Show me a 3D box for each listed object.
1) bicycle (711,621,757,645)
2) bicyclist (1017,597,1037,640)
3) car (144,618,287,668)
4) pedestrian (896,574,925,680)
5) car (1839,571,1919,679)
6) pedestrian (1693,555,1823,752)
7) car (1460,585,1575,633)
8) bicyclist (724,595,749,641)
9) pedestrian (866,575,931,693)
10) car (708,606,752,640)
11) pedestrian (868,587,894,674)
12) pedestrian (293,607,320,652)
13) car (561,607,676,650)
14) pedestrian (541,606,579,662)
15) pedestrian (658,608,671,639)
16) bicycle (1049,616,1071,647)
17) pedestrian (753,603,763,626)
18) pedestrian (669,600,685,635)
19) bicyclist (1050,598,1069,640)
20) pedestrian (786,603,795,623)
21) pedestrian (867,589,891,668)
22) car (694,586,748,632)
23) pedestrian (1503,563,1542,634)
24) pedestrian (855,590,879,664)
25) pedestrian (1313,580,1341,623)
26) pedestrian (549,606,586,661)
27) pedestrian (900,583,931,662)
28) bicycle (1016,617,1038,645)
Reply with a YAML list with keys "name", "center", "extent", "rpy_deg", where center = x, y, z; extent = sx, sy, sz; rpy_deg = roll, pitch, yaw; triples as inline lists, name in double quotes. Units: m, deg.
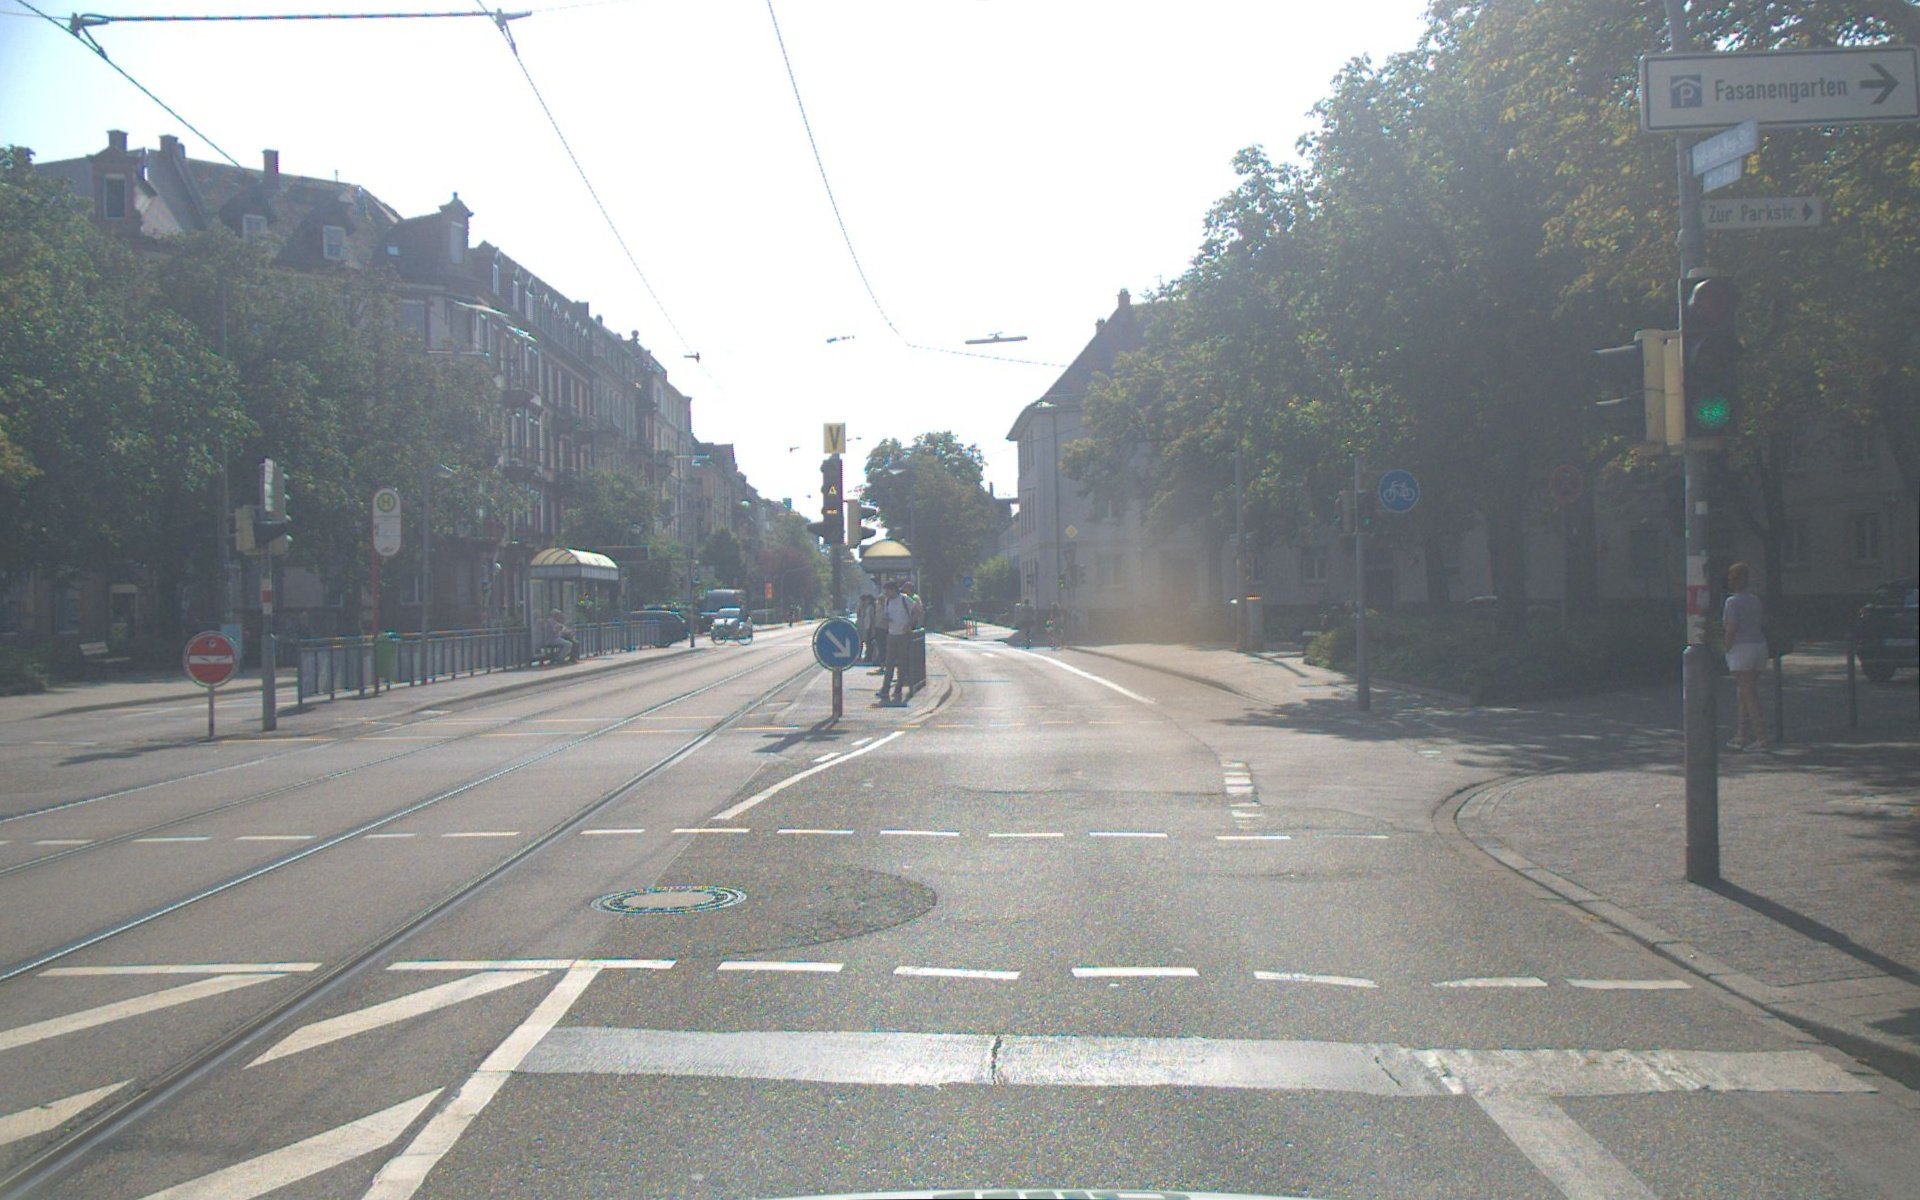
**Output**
- name: "bicycle"
  center: [-9.632, 1.398, 70.433]
  extent: [1.898, 0.995, 0.496]
  rpy_deg: [-1, 0, -4]
- name: "bicyclist"
  center: [2.457, 0.677, 60.758]
  extent: [0.616, 1.534, 0.678]
  rpy_deg: [-1, 0, -3]
- name: "car"
  center: [-26.363, 1.498, 58.593]
  extent: [4.292, 1.596, 1.973]
  rpy_deg: [-1, 0, -38]
- name: "pedestrian"
  center: [-0.892, 0.478, 29.772]
  extent: [0.494, 1.866, 0.534]
  rpy_deg: [1, 2, -1]
- name: "car"
  center: [15.371, 0.325, 25.941]
  extent: [4.196, 1.541, 1.586]
  rpy_deg: [-2, 1, -44]
- name: "pedestrian"
  center: [7.380, 0.480, 15.325]
  extent: [0.736, 1.761, 0.769]
  rpy_deg: [-1, 0, -10]
- name: "car"
  center: [17.967, 0.294, 53.508]
  extent: [1.721, 1.453, 4.135]
  rpy_deg: [-2, 0, -10]
- name: "bicyclist"
  center: [-9.521, 0.765, 70.447]
  extent: [0.967, 1.890, 0.492]
  rpy_deg: [-1, 0, -4]
- name: "pedestrian"
  center: [-0.950, 0.512, 25.504]
  extent: [0.687, 1.755, 0.746]
  rpy_deg: [2, 2, 31]
- name: "car"
  center: [-11.945, 1.159, 86.011]
  extent: [1.765, 1.682, 3.642]
  rpy_deg: [-1, 0, -1]
- name: "pedestrian"
  center: [-1.647, 0.630, 34.456]
  extent: [0.494, 1.790, 0.534]
  rpy_deg: [1, 2, -1]
- name: "pedestrian"
  center: [-26.307, 1.183, 66.572]
  extent: [0.764, 1.761, 0.741]
  rpy_deg: [-1, -1, -40]
- name: "car"
  center: [-13.684, 1.120, 66.265]
  extent: [4.262, 1.596, 1.987]
  rpy_deg: [-1, 0, -22]
- name: "pedestrian"
  center: [-10.128, 0.851, 41.902]
  extent: [0.812, 1.382, 0.775]
  rpy_deg: [-1, 0, -6]
- name: "pedestrian"
  center: [-17.343, 1.366, 97.023]
  extent: [0.736, 1.761, 0.769]
  rpy_deg: [-1, 0, -10]
- name: "bicycle"
  center: [3.465, 1.081, 57.328]
  extent: [0.547, 0.995, 1.855]
  rpy_deg: [-2, 0, -3]
- name: "pedestrian"
  center: [-15.986, 1.149, 130.792]
  extent: [0.736, 1.761, 0.769]
  rpy_deg: [-1, 0, -10]
- name: "pedestrian"
  center: [-14.510, 0.878, 84.826]
  extent: [0.736, 1.761, 0.769]
  rpy_deg: [-1, 0, -10]
- name: "bicyclist"
  center: [3.447, 0.657, 57.343]
  extent: [0.547, 1.441, 0.871]
  rpy_deg: [-1, 0, -3]
- name: "pedestrian"
  center: [-14.570, 1.121, 142.056]
  extent: [0.736, 1.761, 0.769]
  rpy_deg: [-1, 0, -10]
- name: "pedestrian"
  center: [-1.882, 0.658, 38.459]
  extent: [0.532, 1.790, 0.534]
  rpy_deg: [1, 2, -2]
- name: "car"
  center: [-14.596, 0.536, 101.211]
  extent: [2.298, 2.708, 5.106]
  rpy_deg: [-1, 0, 2]
- name: "pedestrian"
  center: [14.369, -0.029, 42.252]
  extent: [0.872, 1.771, 0.776]
  rpy_deg: [-1, 0, 18]
- name: "pedestrian"
  center: [-2.279, 0.664, 40.676]
  extent: [0.521, 1.790, 0.545]
  rpy_deg: [1, 2, 0]
- name: "pedestrian"
  center: [15.550, 0.059, 70.127]
  extent: [0.876, 1.771, 0.773]
  rpy_deg: [-2, 0, 36]
- name: "pedestrian"
  center: [-10.176, 0.857, 42.877]
  extent: [0.812, 1.382, 0.775]
  rpy_deg: [-1, 0, -6]
- name: "pedestrian"
  center: [-1.041, 0.524, 38.668]
  extent: [0.694, 1.790, 0.534]
  rpy_deg: [1, 2, -2]
- name: "bicycle"
  center: [2.462, 1.139, 60.758]
  extent: [0.616, 0.995, 1.769]
  rpy_deg: [-2, 0, -3]
